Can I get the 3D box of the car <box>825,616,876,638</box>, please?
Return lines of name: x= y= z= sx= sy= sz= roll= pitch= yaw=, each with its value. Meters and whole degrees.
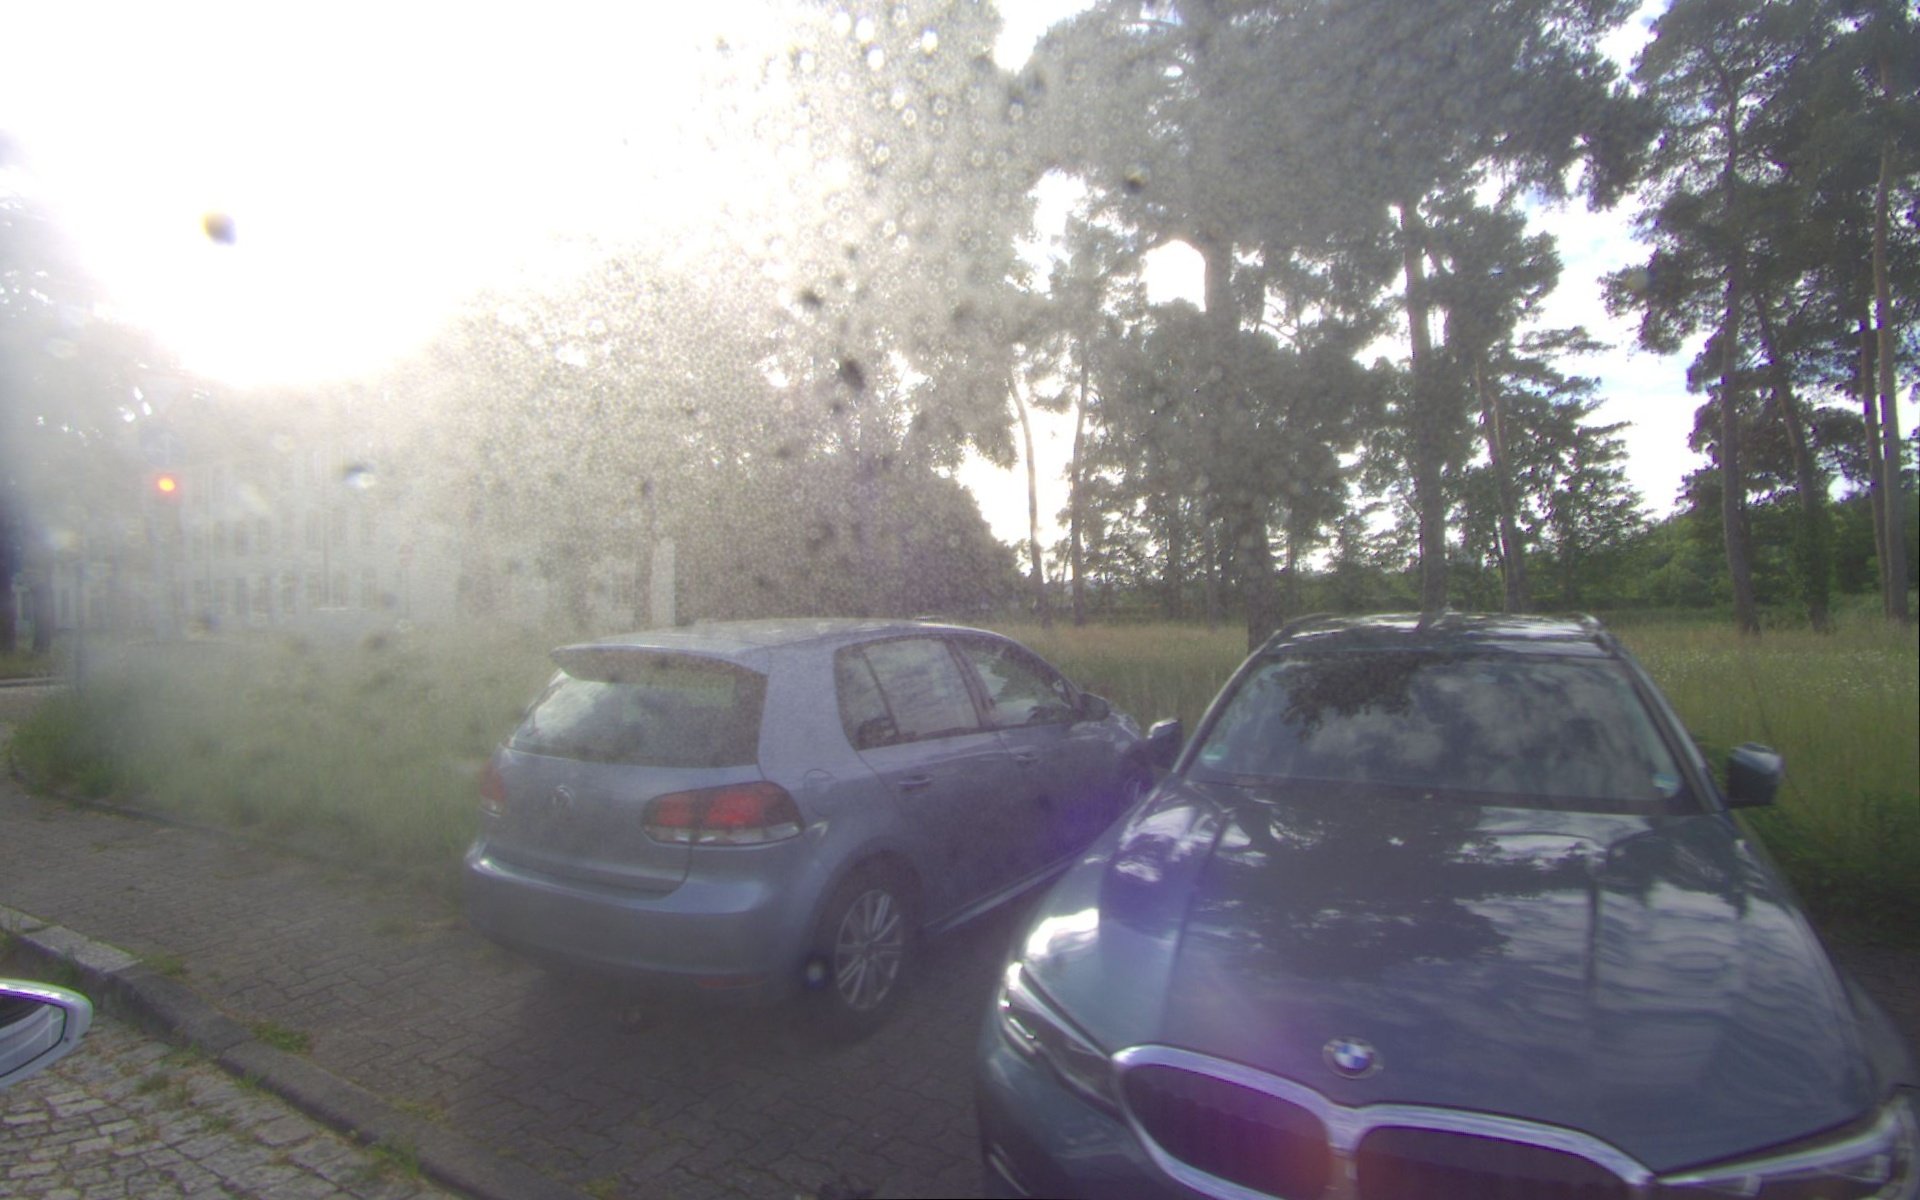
car: x=-7.838 y=1.965 z=72.193 sx=1.541 sy=1.415 sz=3.982 roll=-1 pitch=-3 yaw=32

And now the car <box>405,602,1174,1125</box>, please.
car: x=-0.379 y=0.776 z=4.951 sx=1.618 sy=1.490 sz=3.835 roll=-1 pitch=0 yaw=32

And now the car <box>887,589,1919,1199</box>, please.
car: x=1.728 y=0.762 z=3.560 sx=1.780 sy=1.502 sz=4.508 roll=-1 pitch=-1 yaw=29

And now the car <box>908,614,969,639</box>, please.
car: x=-1.474 y=1.768 z=66.809 sx=3.923 sy=1.622 sz=2.000 roll=0 pitch=0 yaw=-5
